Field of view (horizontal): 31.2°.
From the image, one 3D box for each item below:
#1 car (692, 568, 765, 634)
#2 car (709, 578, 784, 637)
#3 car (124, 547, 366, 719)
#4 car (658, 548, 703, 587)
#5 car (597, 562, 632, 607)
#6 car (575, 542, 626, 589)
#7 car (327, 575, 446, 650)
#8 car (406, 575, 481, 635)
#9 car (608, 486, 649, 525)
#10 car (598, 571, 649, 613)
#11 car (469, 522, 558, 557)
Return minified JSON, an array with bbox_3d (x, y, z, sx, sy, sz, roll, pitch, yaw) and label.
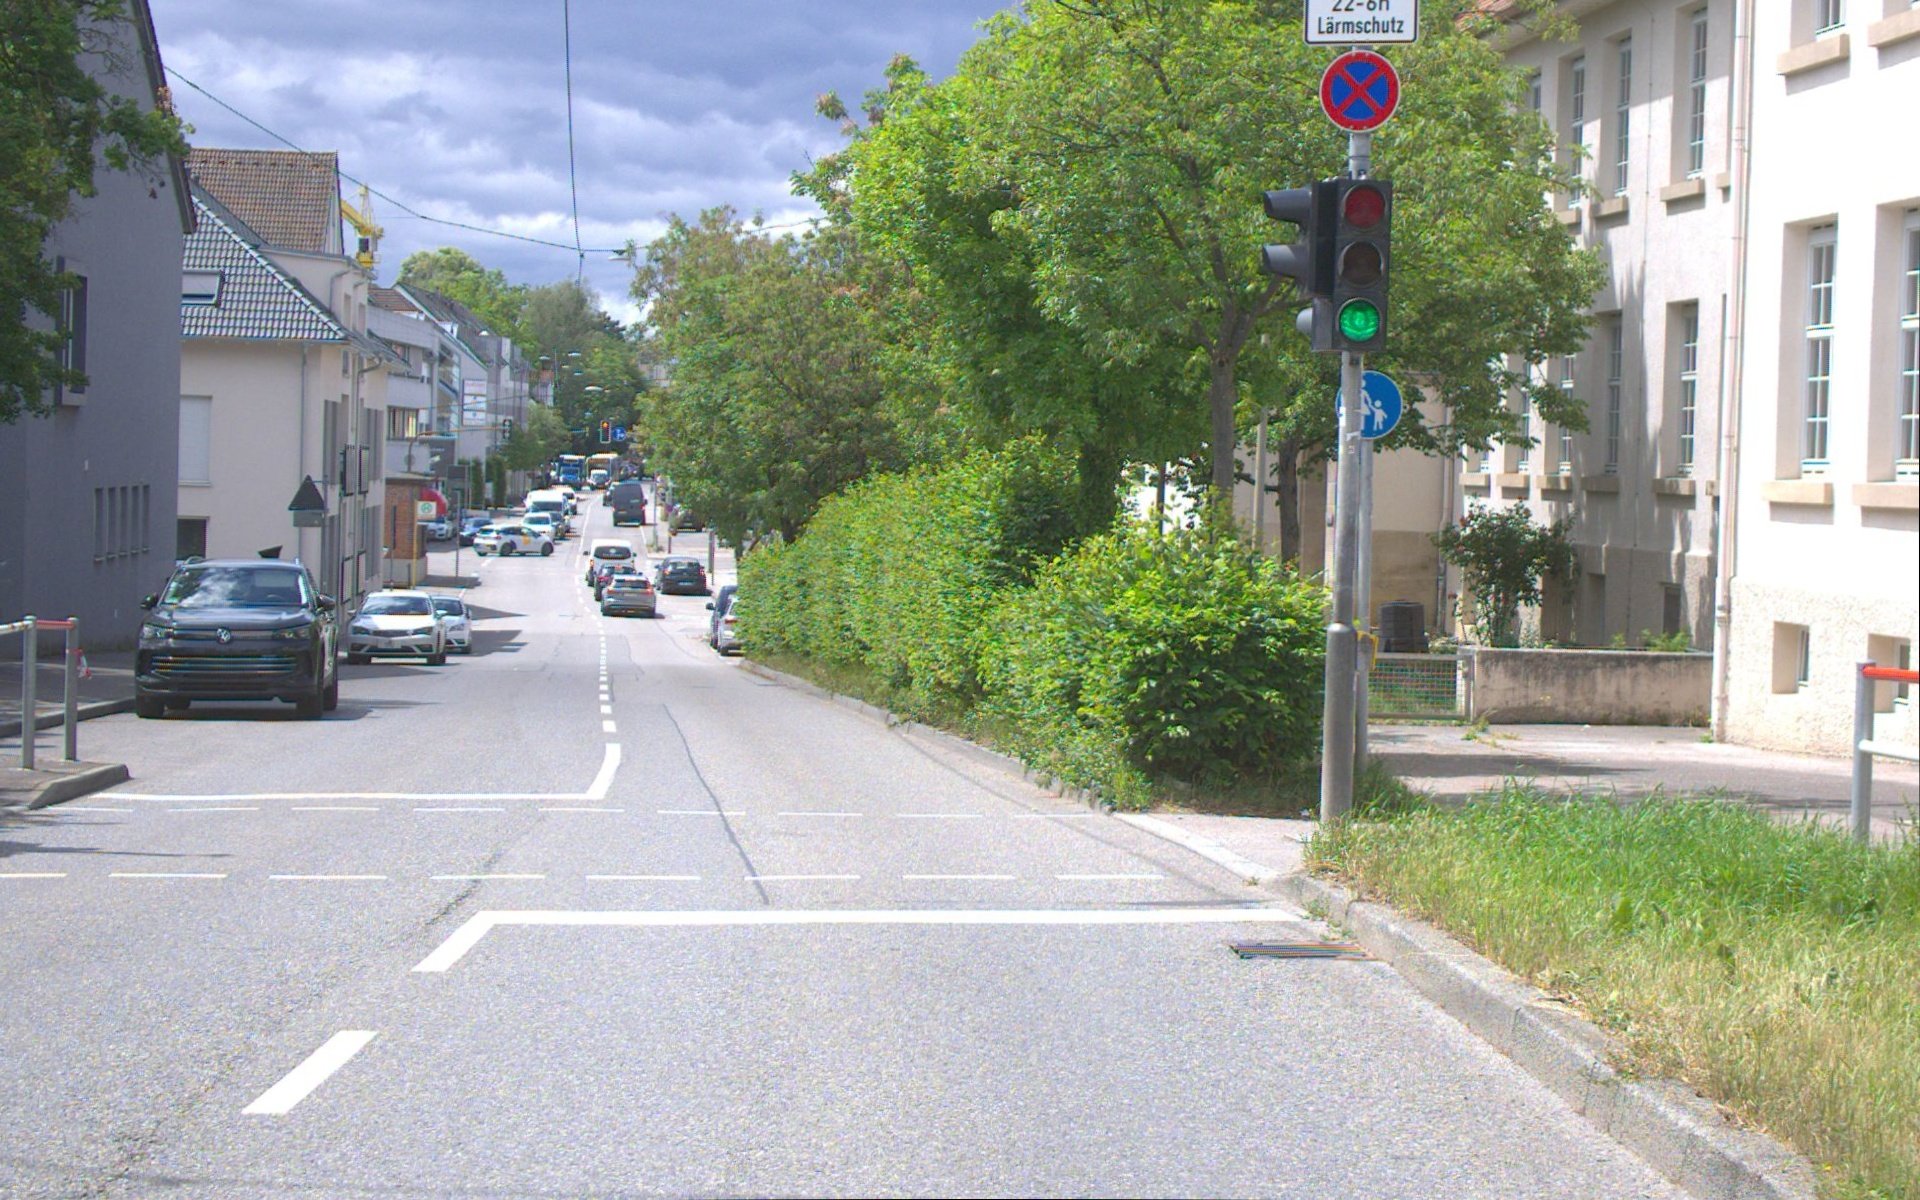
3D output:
[{"bbox_3d":[-6.633,0.021,98.262,1.844,1.762,4.516,2,0,-6],"label":"car"},{"bbox_3d":[-5.775,0.190,92.458,1.786,1.504,4.365,2,0,-6],"label":"car"},{"bbox_3d":[-7.289,0.290,35.452,1.795,1.605,4.646,2,1,-4],"label":"car"},{"bbox_3d":[-11.242,-1.325,138.513,1.752,1.366,4.001,2,3,-4],"label":"car"},{"bbox_3d":[-13.266,-0.589,131.813,1.273,1.522,3.051,1,4,-7],"label":"car"},{"bbox_3d":[-14.833,-1.417,141.632,1.836,1.855,3.851,2,0,-9],"label":"car"},{"bbox_3d":[-11.460,0.231,68.503,1.697,1.385,3.867,1,1,-19],"label":"car"},{"bbox_3d":[-13.008,0.118,86.704,1.647,1.414,3.699,2,0,-6],"label":"car"},{"bbox_3d":[-21.424,-6.081,221.937,2.436,2.310,5.328,3,1,-6],"label":"car"},{"bbox_3d":[-12.009,-0.281,122.663,1.744,1.412,4.001,1,1,-6],"label":"car"},{"bbox_3d":[-21.498,-2.910,165.641,1.787,1.487,3.990,3,0,42],"label":"car"}]
